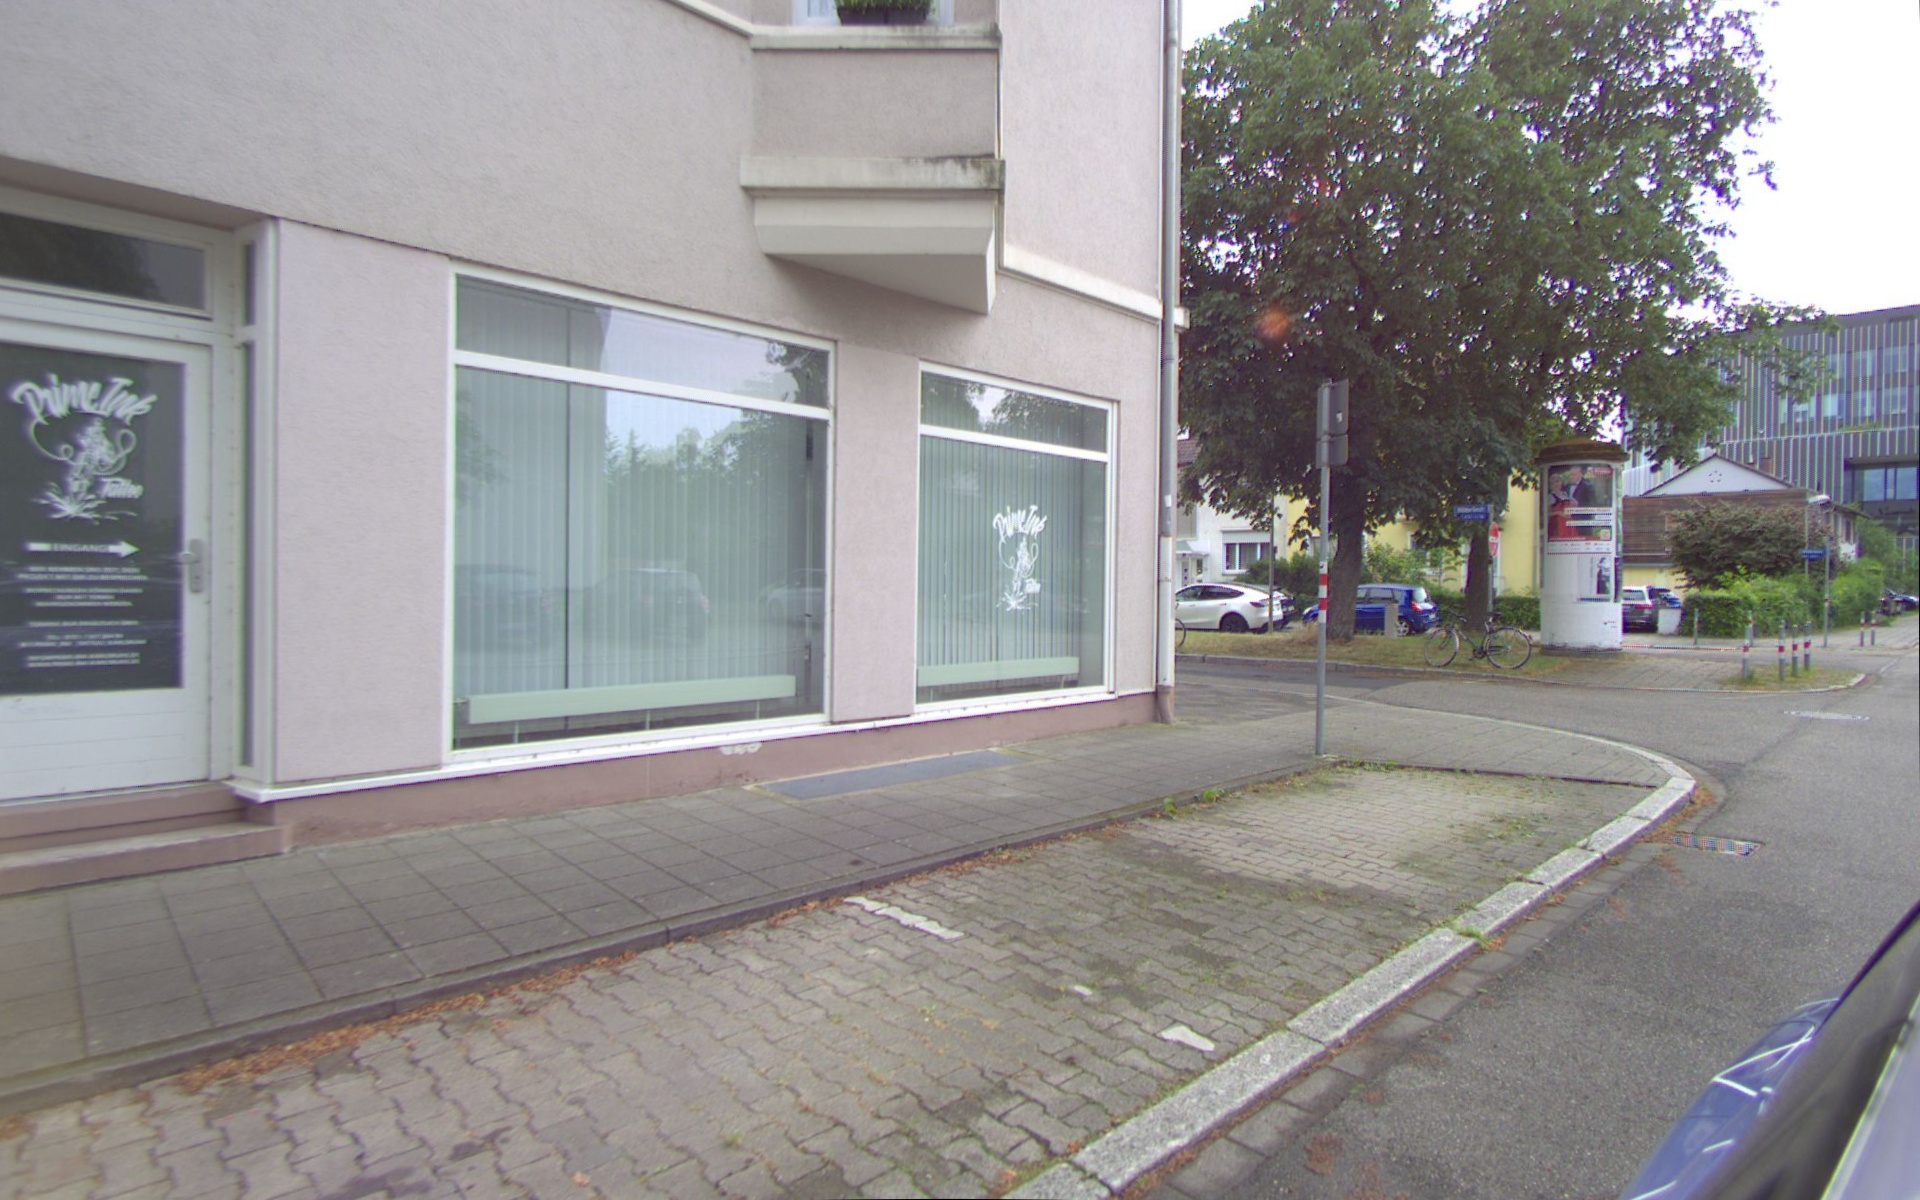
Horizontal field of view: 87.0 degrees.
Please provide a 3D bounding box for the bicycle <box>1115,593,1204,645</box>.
[{"bbox_3d":[4.409,0.394,22.425,1.879,1.080,0.657,1,1,44],"label":"bicycle"}]

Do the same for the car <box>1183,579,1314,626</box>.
[{"bbox_3d":[10.213,0.047,35.972,4.150,1.518,1.695,1,3,42],"label":"car"}]

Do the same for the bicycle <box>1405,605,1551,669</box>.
[{"bbox_3d":[8.889,0.615,17.431,2.172,0.997,0.505,0,3,40],"label":"bicycle"}]

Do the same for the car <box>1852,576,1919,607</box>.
[{"bbox_3d":[59.995,-0.572,64.908,1.967,1.860,3.993,-4,3,-42],"label":"car"}]

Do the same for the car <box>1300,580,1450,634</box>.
[{"bbox_3d":[13.352,0.169,32.743,1.677,1.585,4.199,-2,2,-44],"label":"car"}]

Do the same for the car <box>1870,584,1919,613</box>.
[{"bbox_3d":[52.948,-0.114,57.186,3.935,1.415,1.996,-4,3,-43],"label":"car"}]

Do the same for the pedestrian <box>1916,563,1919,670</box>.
[{"bbox_3d":[16.920,0.299,16.903,0.866,1.859,1.214,1,1,14],"label":"pedestrian"}]

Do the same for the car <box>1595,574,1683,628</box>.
[{"bbox_3d":[21.994,0.000,32.723,1.836,1.630,3.939,1,1,42],"label":"car"}]

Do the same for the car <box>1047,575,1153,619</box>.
[{"bbox_3d":[5.526,-0.151,40.164,3.868,1.621,1.695,0,3,41],"label":"car"}]

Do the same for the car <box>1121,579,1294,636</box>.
[{"bbox_3d":[7.501,0.171,30.959,4.864,1.586,1.874,1,1,42],"label":"car"}]
